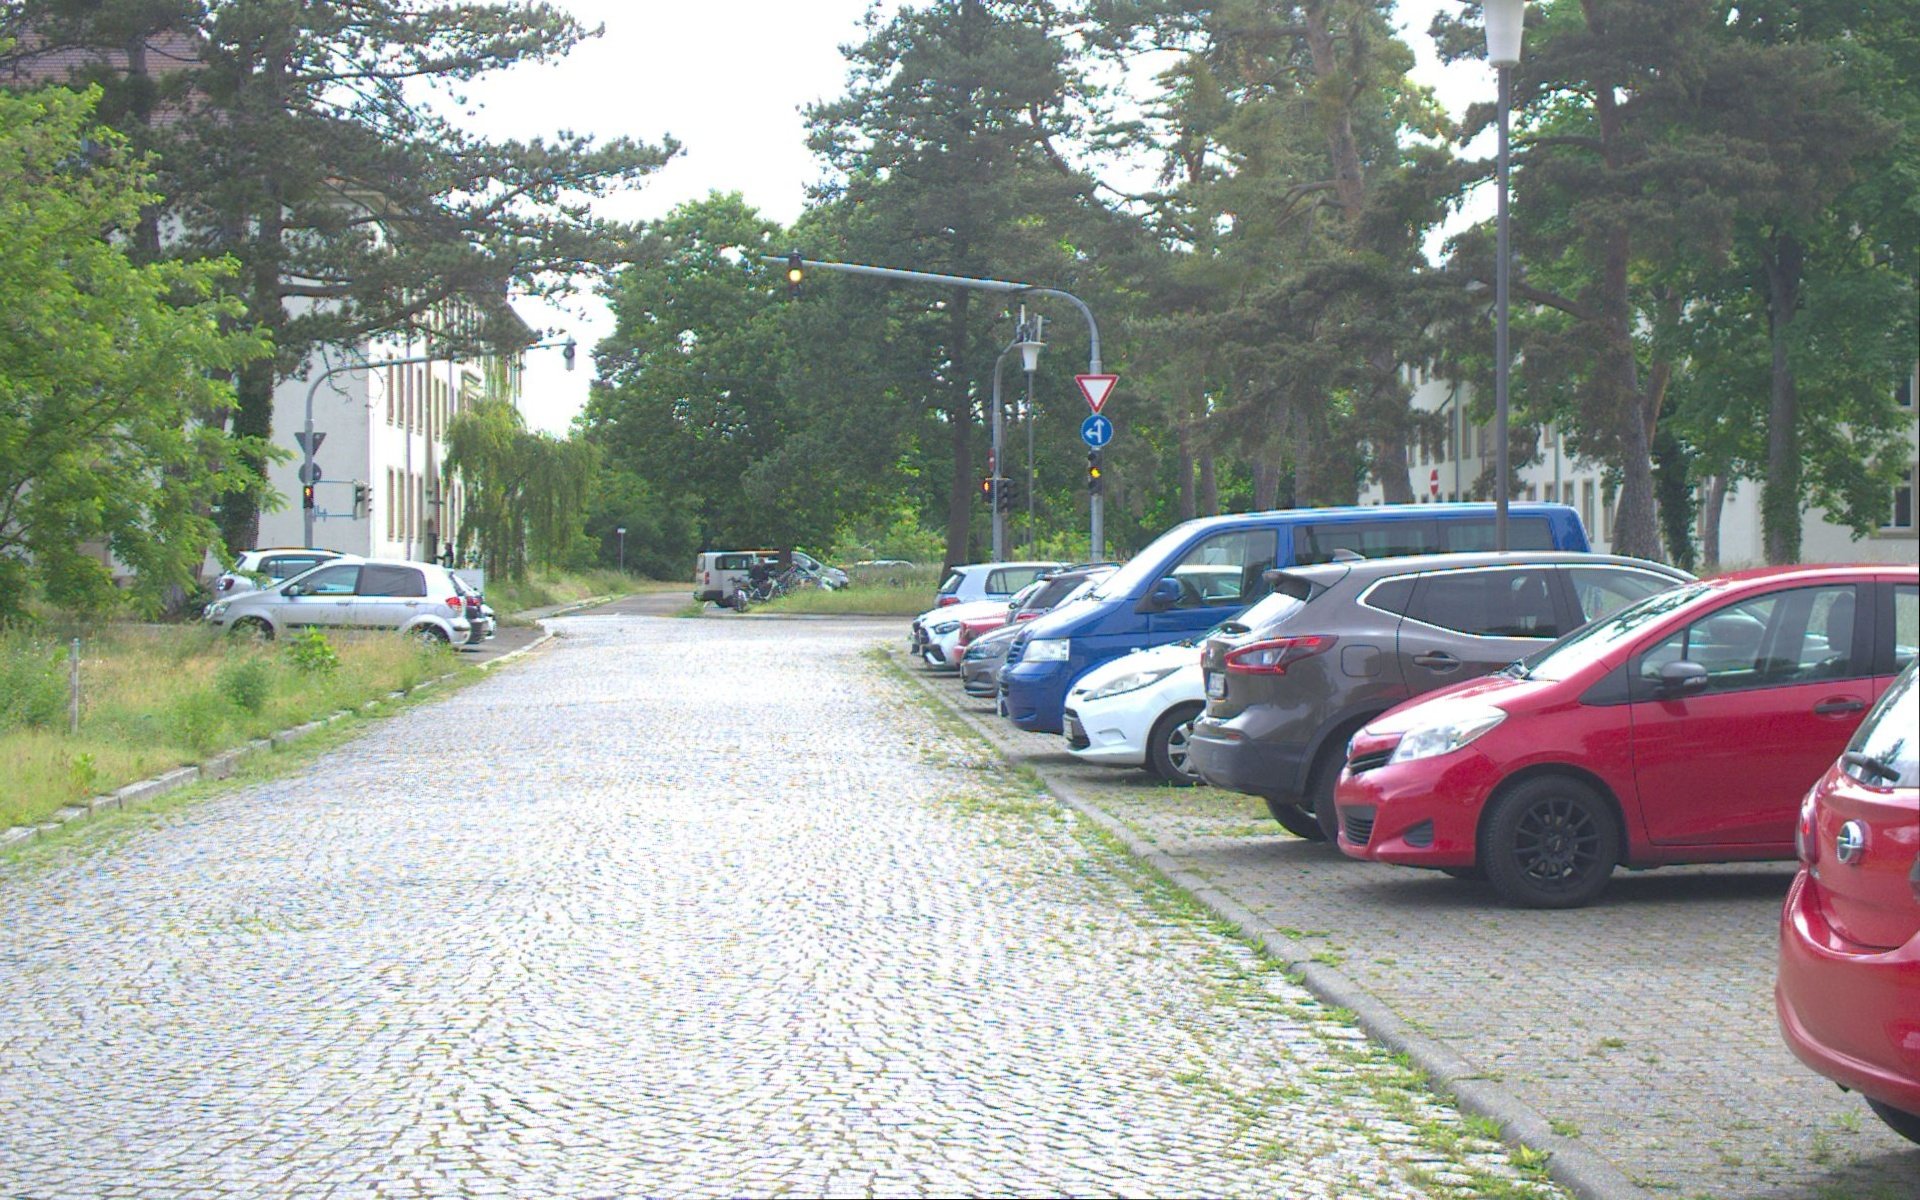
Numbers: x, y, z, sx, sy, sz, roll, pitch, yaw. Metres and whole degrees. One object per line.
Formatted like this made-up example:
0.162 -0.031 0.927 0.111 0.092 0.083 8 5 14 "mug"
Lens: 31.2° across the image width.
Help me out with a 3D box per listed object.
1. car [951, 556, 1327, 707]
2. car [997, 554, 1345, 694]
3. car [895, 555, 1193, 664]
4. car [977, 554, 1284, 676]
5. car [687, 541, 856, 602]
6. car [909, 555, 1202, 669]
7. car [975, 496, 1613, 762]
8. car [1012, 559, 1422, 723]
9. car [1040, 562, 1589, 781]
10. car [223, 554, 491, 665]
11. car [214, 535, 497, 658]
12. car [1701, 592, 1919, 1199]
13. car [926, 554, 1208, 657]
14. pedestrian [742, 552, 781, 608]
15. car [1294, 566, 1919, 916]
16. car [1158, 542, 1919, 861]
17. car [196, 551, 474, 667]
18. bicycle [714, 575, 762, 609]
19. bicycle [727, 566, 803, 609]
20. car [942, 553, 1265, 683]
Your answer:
1.817 0.306 35.507 3.671 1.444 1.524 -1 0 -5 "car"
2.332 0.255 38.527 3.671 1.444 1.524 -1 0 -5 "car"
1.162 0.121 48.579 3.967 1.416 1.620 -1 0 -7 "car"
2.133 0.178 43.514 3.671 1.444 1.524 -1 0 -5 "car"
-6.474 -0.980 117.762 5.444 2.007 2.269 1 0 -12 "car"
1.253 0.150 45.724 3.671 1.416 1.524 -1 0 -7 "car"
2.600 0.210 27.477 4.753 1.948 1.932 -1 0 -5 "car"
2.411 0.372 32.756 3.671 1.444 1.524 -1 0 -5 "car"
2.515 0.492 24.878 3.671 1.444 1.615 -1 0 -6 "car"
-9.094 0.133 52.036 3.821 1.567 1.564 -1 0 -4 "car"
-9.627 -0.064 54.998 4.262 1.834 1.744 -1 0 -4 "car"
3.938 0.683 8.312 3.825 1.455 1.779 -1 0 -4 "car"
1.569 0.071 51.254 3.967 1.416 1.620 -1 0 -7 "car"
-5.759 -0.584 99.911 1.033 1.608 0.758 1 0 -9 "pedestrian"
3.576 0.594 15.894 3.791 1.455 1.751 -1 0 -3 "car"
3.211 0.502 18.528 4.028 1.547 1.751 -1 0 -6 "car"
-8.986 0.123 49.620 3.821 1.567 1.565 -1 0 -6 "car"
-6.194 -0.226 95.770 0.620 0.942 1.663 1 1 -31 "bicycle"
-5.649 -0.357 99.543 2.136 1.210 0.622 1 0 -9 "bicycle"
1.686 0.200 41.202 3.671 1.444 1.524 -1 0 -5 "car"
